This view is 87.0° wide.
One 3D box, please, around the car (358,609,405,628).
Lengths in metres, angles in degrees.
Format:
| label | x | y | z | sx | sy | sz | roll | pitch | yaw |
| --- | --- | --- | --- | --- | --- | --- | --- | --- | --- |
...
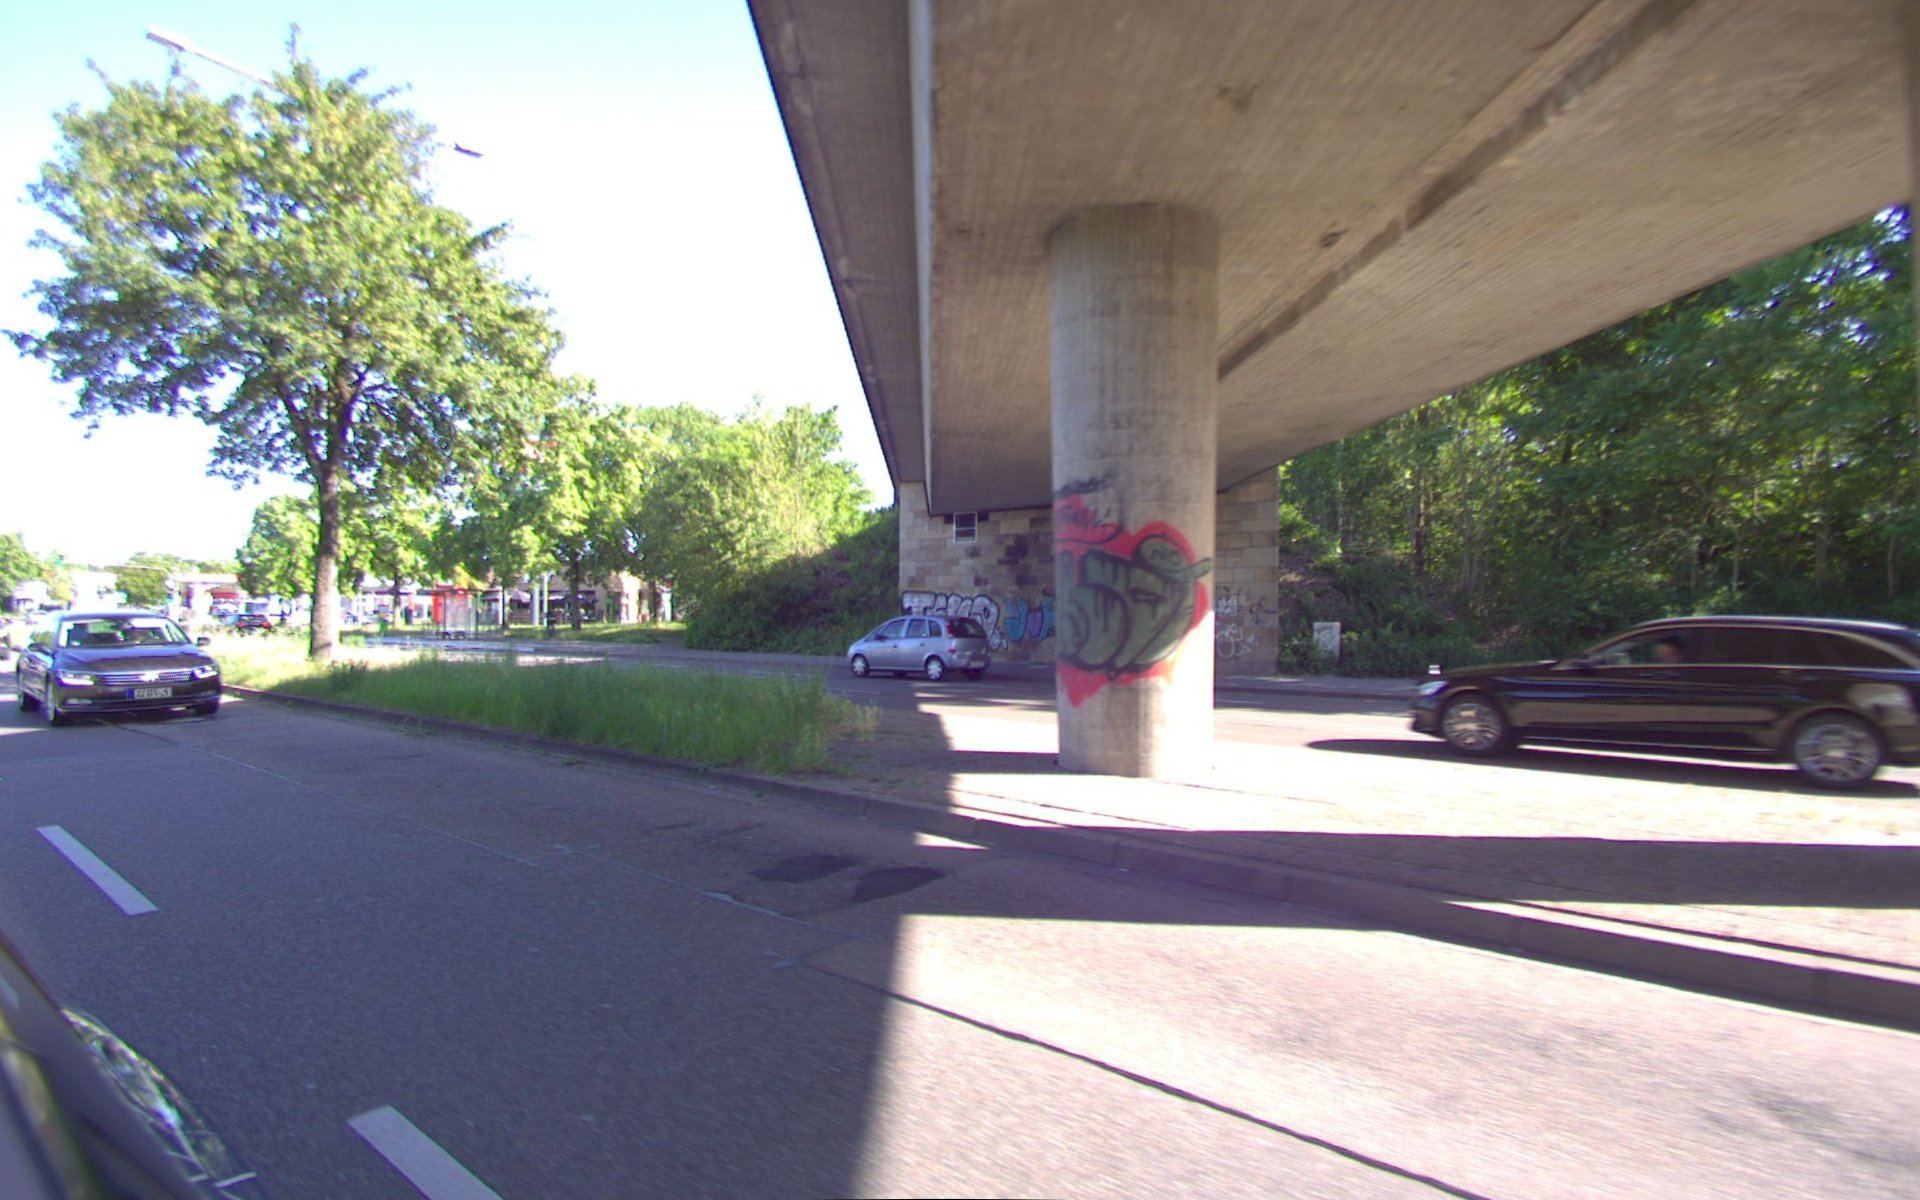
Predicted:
| label | x | y | z | sx | sy | sz | roll | pitch | yaw |
| --- | --- | --- | --- | --- | --- | --- | --- | --- | --- |
| car | -59.519 | 1.877 | 104.149 | 3.778 | 1.864 | 1.847 | -1 | 1 | 1 |

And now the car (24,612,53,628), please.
| label | x | y | z | sx | sy | sz | roll | pitch | yaw |
| --- | --- | --- | --- | --- | --- | --- | --- | --- | --- |
| car | -92.727 | 2.032 | 101.803 | 4.109 | 1.462 | 1.624 | 0 | -3 | 41 |

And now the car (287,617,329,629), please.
| label | x | y | z | sx | sy | sz | roll | pitch | yaw |
| --- | --- | --- | --- | --- | --- | --- | --- | --- | --- |
| car | -80.936 | 2.836 | 125.670 | 1.900 | 1.443 | 4.063 | 0 | -2 | 41 |

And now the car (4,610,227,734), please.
| label | x | y | z | sx | sy | sz | roll | pitch | yaw |
| --- | --- | --- | --- | --- | --- | --- | --- | --- | --- |
| car | -12.040 | 0.895 | 14.327 | 4.264 | 1.464 | 1.824 | 0 | 0 | 42 |

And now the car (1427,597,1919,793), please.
| label | x | y | z | sx | sy | sz | roll | pitch | yaw |
| --- | --- | --- | --- | --- | --- | --- | --- | --- | --- |
| car | 6.932 | 0.807 | 9.846 | 3.998 | 1.554 | 1.823 | 0 | -3 | 41 |

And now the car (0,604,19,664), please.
| label | x | y | z | sx | sy | sz | roll | pitch | yaw |
| --- | --- | --- | --- | --- | --- | --- | --- | --- | --- |
| car | -29.668 | 1.001 | 30.100 | 4.694 | 1.696 | 1.973 | 0 | 1 | 41 |

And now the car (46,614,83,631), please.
| label | x | y | z | sx | sy | sz | roll | pitch | yaw |
| --- | --- | --- | --- | --- | --- | --- | --- | --- | --- |
| car | -79.182 | 1.995 | 89.441 | 4.628 | 1.446 | 1.798 | 0 | -3 | 41 |

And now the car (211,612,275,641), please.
| label | x | y | z | sx | sy | sz | roll | pitch | yaw |
| --- | --- | --- | --- | --- | --- | --- | --- | --- | --- |
| car | -37.681 | 1.387 | 53.170 | 4.087 | 1.453 | 1.797 | 0 | -1 | 41 |

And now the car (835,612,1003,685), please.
| label | x | y | z | sx | sy | sz | roll | pitch | yaw |
| --- | --- | --- | --- | --- | --- | --- | --- | --- | --- |
| car | -1.086 | 1.157 | 25.315 | 4.178 | 1.629 | 1.711 | 0 | -2 | 41 |

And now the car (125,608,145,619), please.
| label | x | y | z | sx | sy | sz | roll | pitch | yaw |
| --- | --- | --- | --- | --- | --- | --- | --- | --- | --- |
| car | -135.379 | 2.188 | 166.078 | 4.116 | 1.625 | 1.740 | 0 | -2 | 40 |

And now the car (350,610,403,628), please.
| label | x | y | z | sx | sy | sz | roll | pitch | yaw |
| --- | --- | --- | --- | --- | --- | --- | --- | --- | --- |
| car | -57.400 | 1.886 | 99.584 | 4.073 | 1.674 | 1.896 | -1 | 1 | -1 |

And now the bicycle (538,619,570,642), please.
| label | x | y | z | sx | sy | sz | roll | pitch | yaw |
| --- | --- | --- | --- | --- | --- | --- | --- | --- | --- |
| bicycle | -19.270 | 1.420 | 48.004 | 1.714 | 1.038 | 0.676 | 0 | 1 | 41 |

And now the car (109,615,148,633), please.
| label | x | y | z | sx | sy | sz | roll | pitch | yaw |
| --- | --- | --- | --- | --- | --- | --- | --- | --- | --- |
| car | -73.919 | 2.155 | 89.943 | 4.487 | 1.465 | 1.894 | 0 | -3 | 41 |
